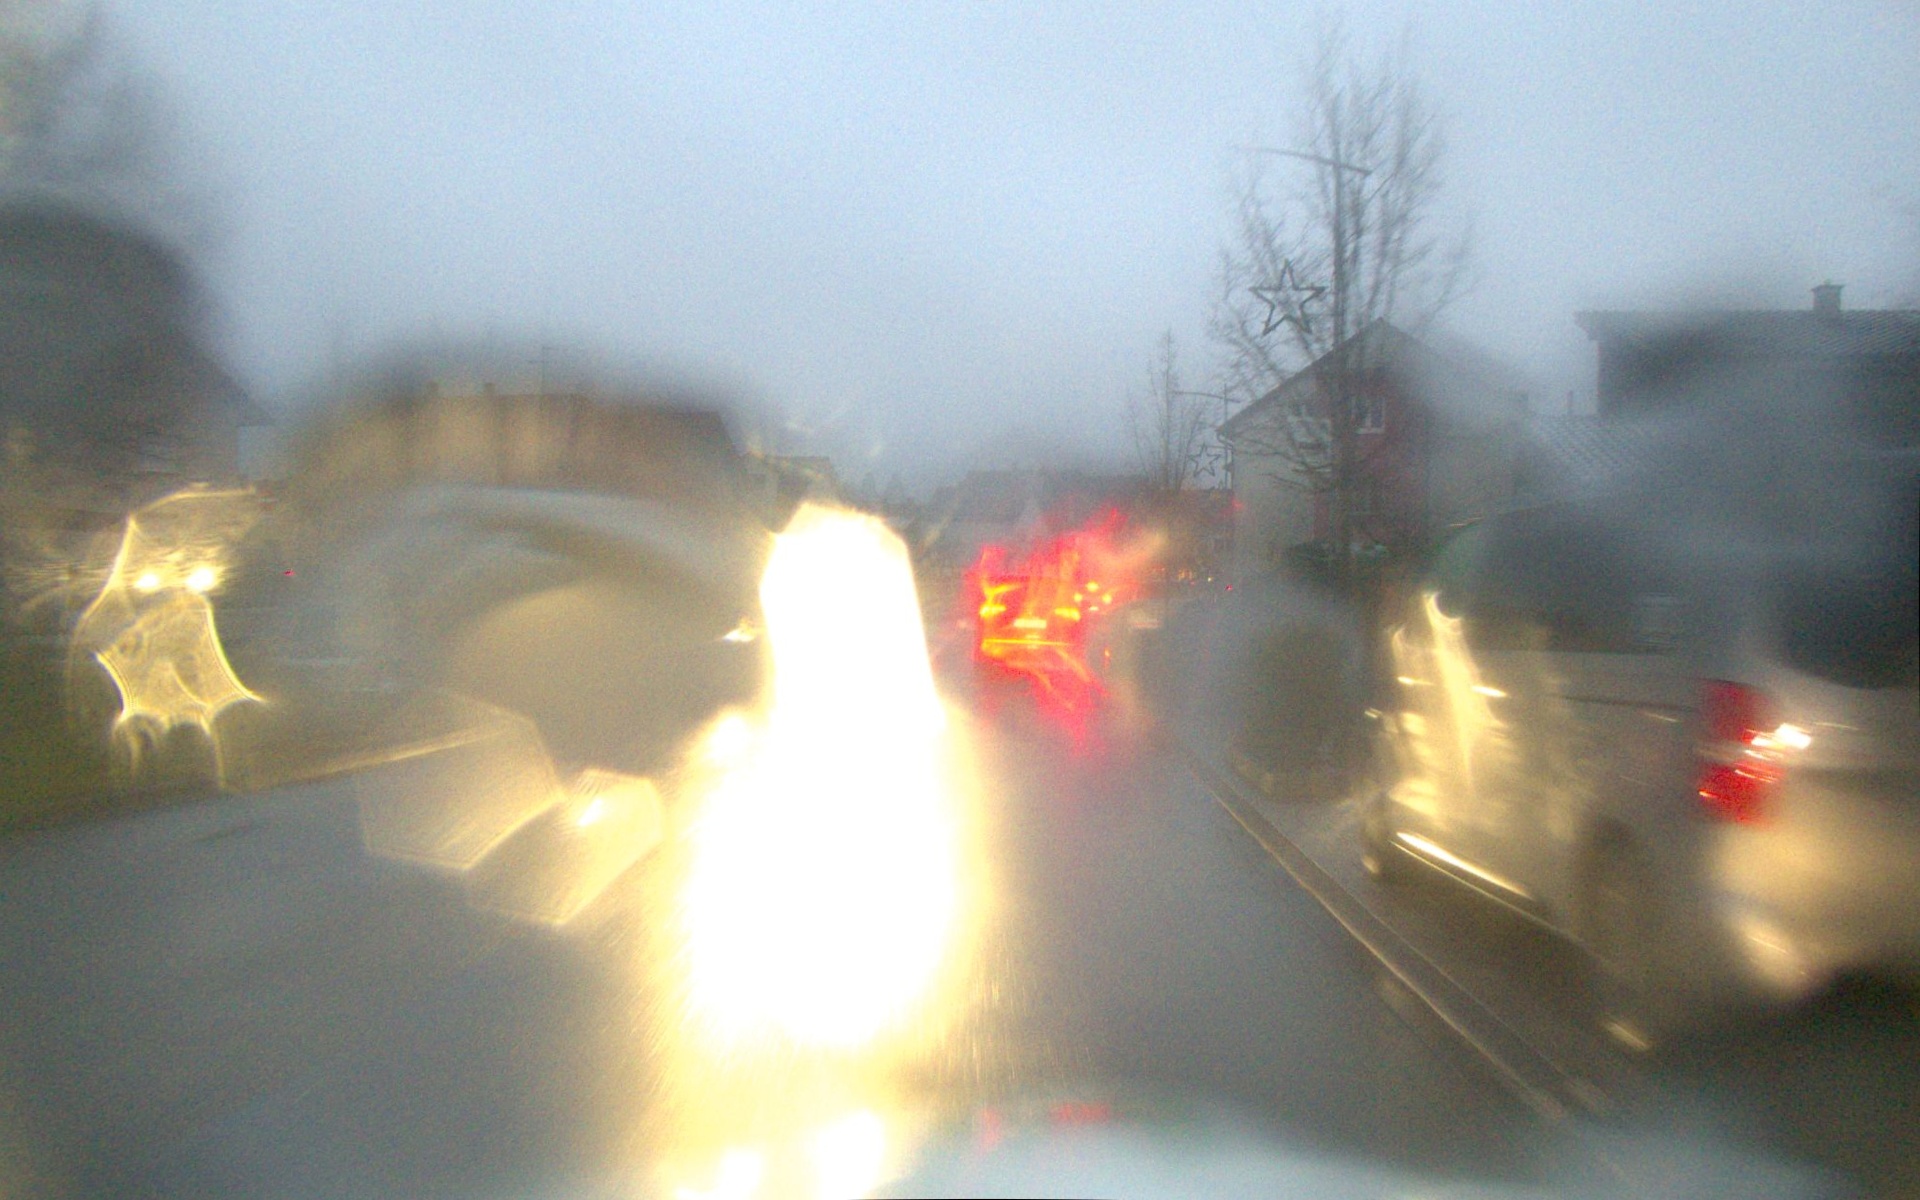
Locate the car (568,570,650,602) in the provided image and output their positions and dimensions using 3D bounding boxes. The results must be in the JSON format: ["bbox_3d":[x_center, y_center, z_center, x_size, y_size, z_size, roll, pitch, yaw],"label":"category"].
[{"bbox_3d":[-15.838,-0.627,74.906,1.951,1.330,4.116,3,1,14],"label":"car"}]

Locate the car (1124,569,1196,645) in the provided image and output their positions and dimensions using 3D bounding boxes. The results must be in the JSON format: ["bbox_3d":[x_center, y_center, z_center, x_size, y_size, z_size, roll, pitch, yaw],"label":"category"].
[{"bbox_3d":[5.102,0.139,42.083,1.708,1.816,4.339,-1,1,7],"label":"car"}]

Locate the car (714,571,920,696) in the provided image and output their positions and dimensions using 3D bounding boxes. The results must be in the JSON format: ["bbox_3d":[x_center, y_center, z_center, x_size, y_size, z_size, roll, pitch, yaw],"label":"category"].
[{"bbox_3d":[-1.836,0.387,22.807,1.866,1.514,4.572,1,1,8],"label":"car"}]

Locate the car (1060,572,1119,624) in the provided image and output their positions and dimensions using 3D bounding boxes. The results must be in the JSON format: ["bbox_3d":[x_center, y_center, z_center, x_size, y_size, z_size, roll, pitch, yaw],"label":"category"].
[{"bbox_3d":[5.370,-0.062,68.057,1.951,2.049,4.003,2,0,10],"label":"car"}]

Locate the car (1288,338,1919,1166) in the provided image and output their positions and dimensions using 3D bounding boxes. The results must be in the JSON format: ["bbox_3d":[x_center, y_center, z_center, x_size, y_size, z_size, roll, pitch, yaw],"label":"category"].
[{"bbox_3d":[2.976,0.323,6.993,1.937,2.049,5.744,-1,1,-1],"label":"car"}]

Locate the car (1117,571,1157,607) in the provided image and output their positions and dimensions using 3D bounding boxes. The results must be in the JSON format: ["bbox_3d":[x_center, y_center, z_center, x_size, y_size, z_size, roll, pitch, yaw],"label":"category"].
[{"bbox_3d":[10.728,-0.661,100.017,1.951,2.049,4.003,2,0,13],"label":"car"}]

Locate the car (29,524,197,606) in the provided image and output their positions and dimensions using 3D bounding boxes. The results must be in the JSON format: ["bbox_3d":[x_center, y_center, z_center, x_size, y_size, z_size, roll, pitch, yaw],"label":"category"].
[{"bbox_3d":[-22.728,-0.921,44.571,1.877,2.048,4.004,3,1,11],"label":"car"}]

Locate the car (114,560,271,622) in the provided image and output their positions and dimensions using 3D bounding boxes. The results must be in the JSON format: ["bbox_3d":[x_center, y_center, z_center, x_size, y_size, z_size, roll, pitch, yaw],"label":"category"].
[{"bbox_3d":[-19.701,-0.246,42.680,1.359,1.462,4.340,3,1,11],"label":"car"}]

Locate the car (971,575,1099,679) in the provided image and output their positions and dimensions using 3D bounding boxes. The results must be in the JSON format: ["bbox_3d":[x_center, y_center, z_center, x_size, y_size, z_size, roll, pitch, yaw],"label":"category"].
[{"bbox_3d":[1.216,0.409,27.742,1.952,1.552,4.001,2,0,1],"label":"car"}]
